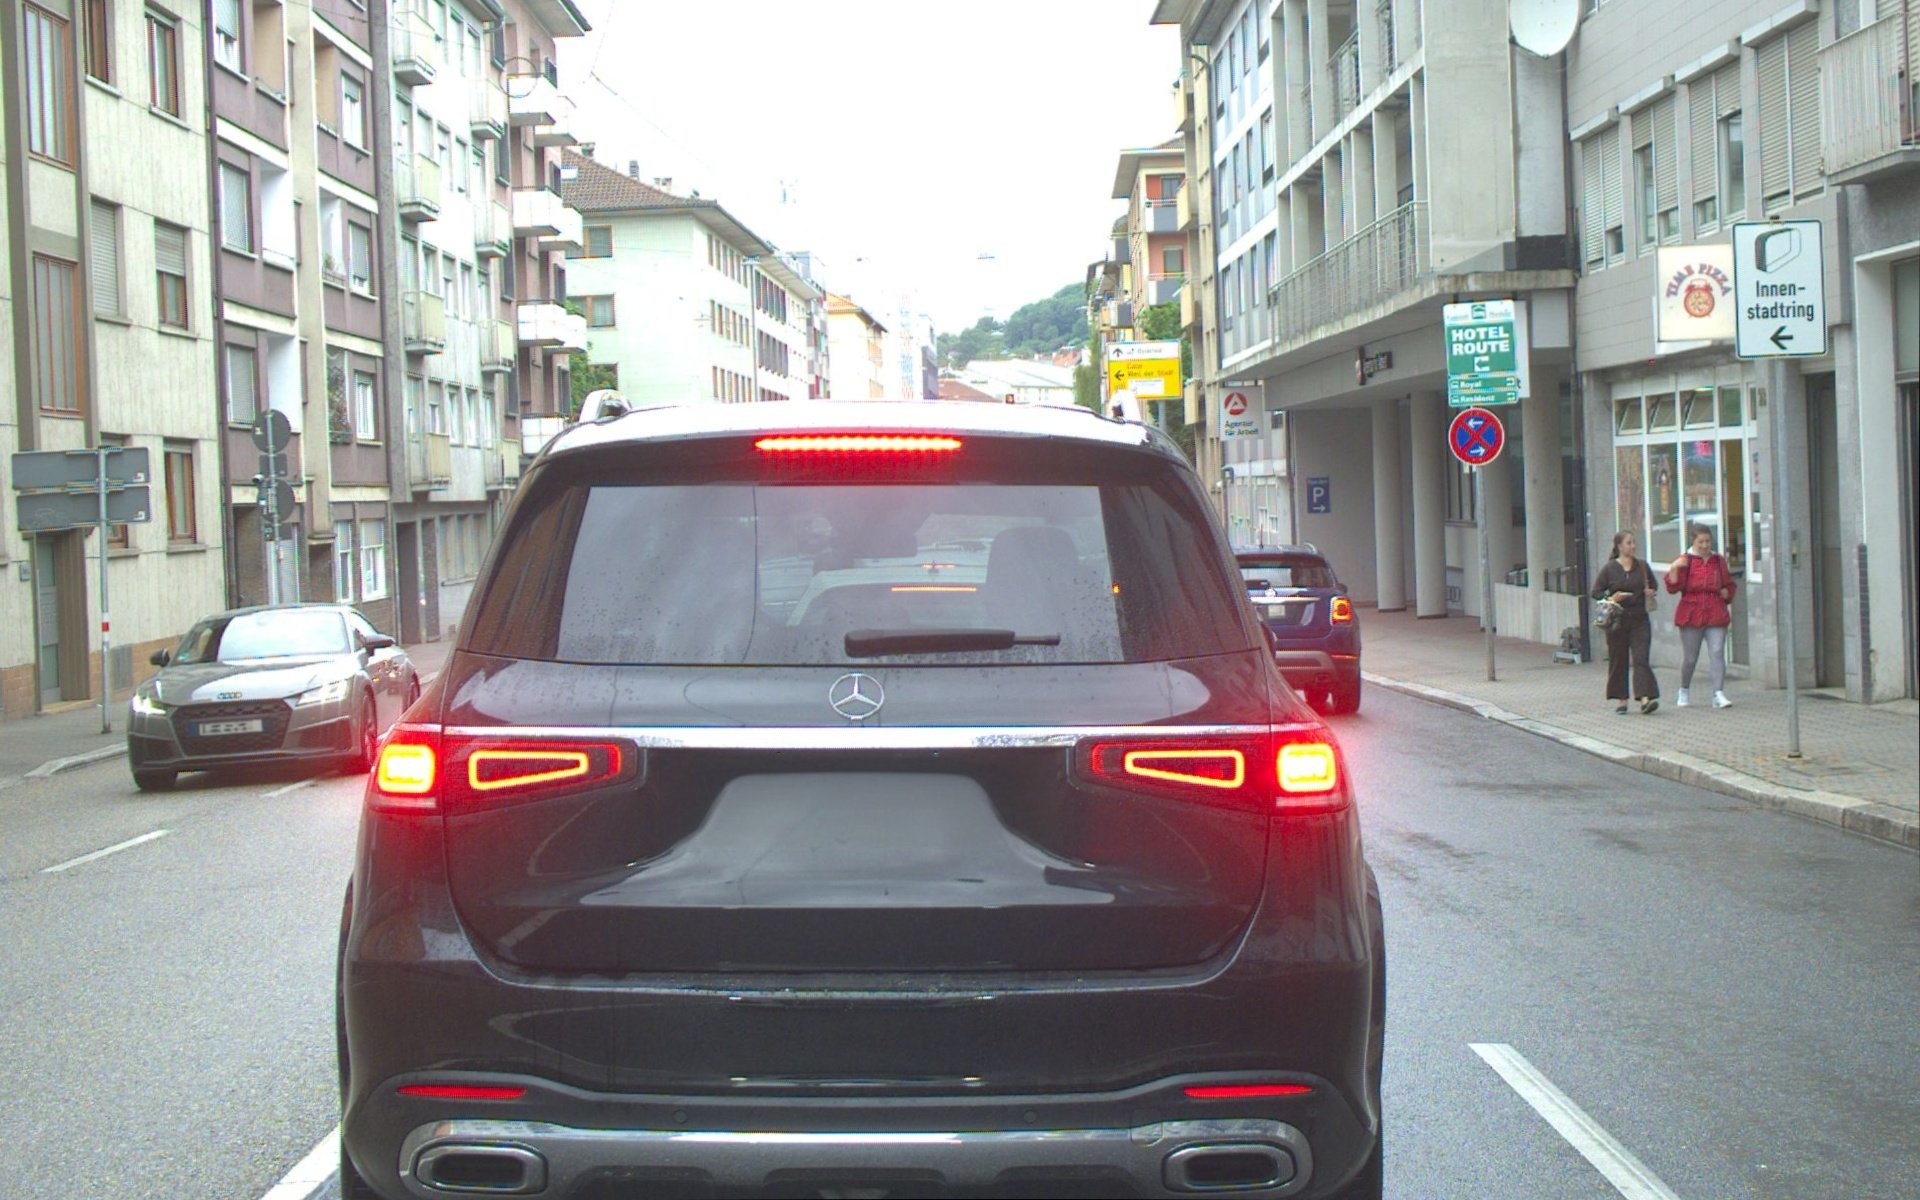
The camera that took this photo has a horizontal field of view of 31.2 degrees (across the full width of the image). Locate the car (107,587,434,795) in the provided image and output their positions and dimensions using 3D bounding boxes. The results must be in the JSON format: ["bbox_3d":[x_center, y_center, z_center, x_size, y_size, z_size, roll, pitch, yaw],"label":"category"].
[{"bbox_3d":[-5.409,0.667,27.442,1.767,1.341,3.889,-5,1,-1],"label":"car"}]

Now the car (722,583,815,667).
[{"bbox_3d":[-4.093,0.515,73.890,1.732,1.570,4.012,-5,1,-1],"label":"car"}]

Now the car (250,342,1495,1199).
[{"bbox_3d":[-0.185,0.459,7.655,2.025,1.799,4.000,1,1,-1],"label":"car"}]

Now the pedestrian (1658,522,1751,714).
[{"bbox_3d":[6.274,0.147,28.981,0.560,1.573,0.526,-4,1,-1],"label":"pedestrian"}]

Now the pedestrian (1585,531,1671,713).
[{"bbox_3d":[5.649,0.179,29.102,0.506,1.495,0.562,-4,1,-1],"label":"pedestrian"}]

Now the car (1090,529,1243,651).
[{"bbox_3d":[3.094,-0.178,52.341,1.940,1.769,4.746,0,1,-1],"label":"car"}]

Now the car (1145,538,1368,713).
[{"bbox_3d":[2.813,0.200,33.389,1.767,1.575,4.000,-1,1,-1],"label":"car"}]

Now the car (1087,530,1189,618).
[{"bbox_3d":[3.346,-0.509,65.213,1.808,1.600,4.212,0,1,1],"label":"car"}]

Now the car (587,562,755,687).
[{"bbox_3d":[-3.582,0.265,43.249,1.724,1.385,4.339,-3,1,-1],"label":"car"}]
